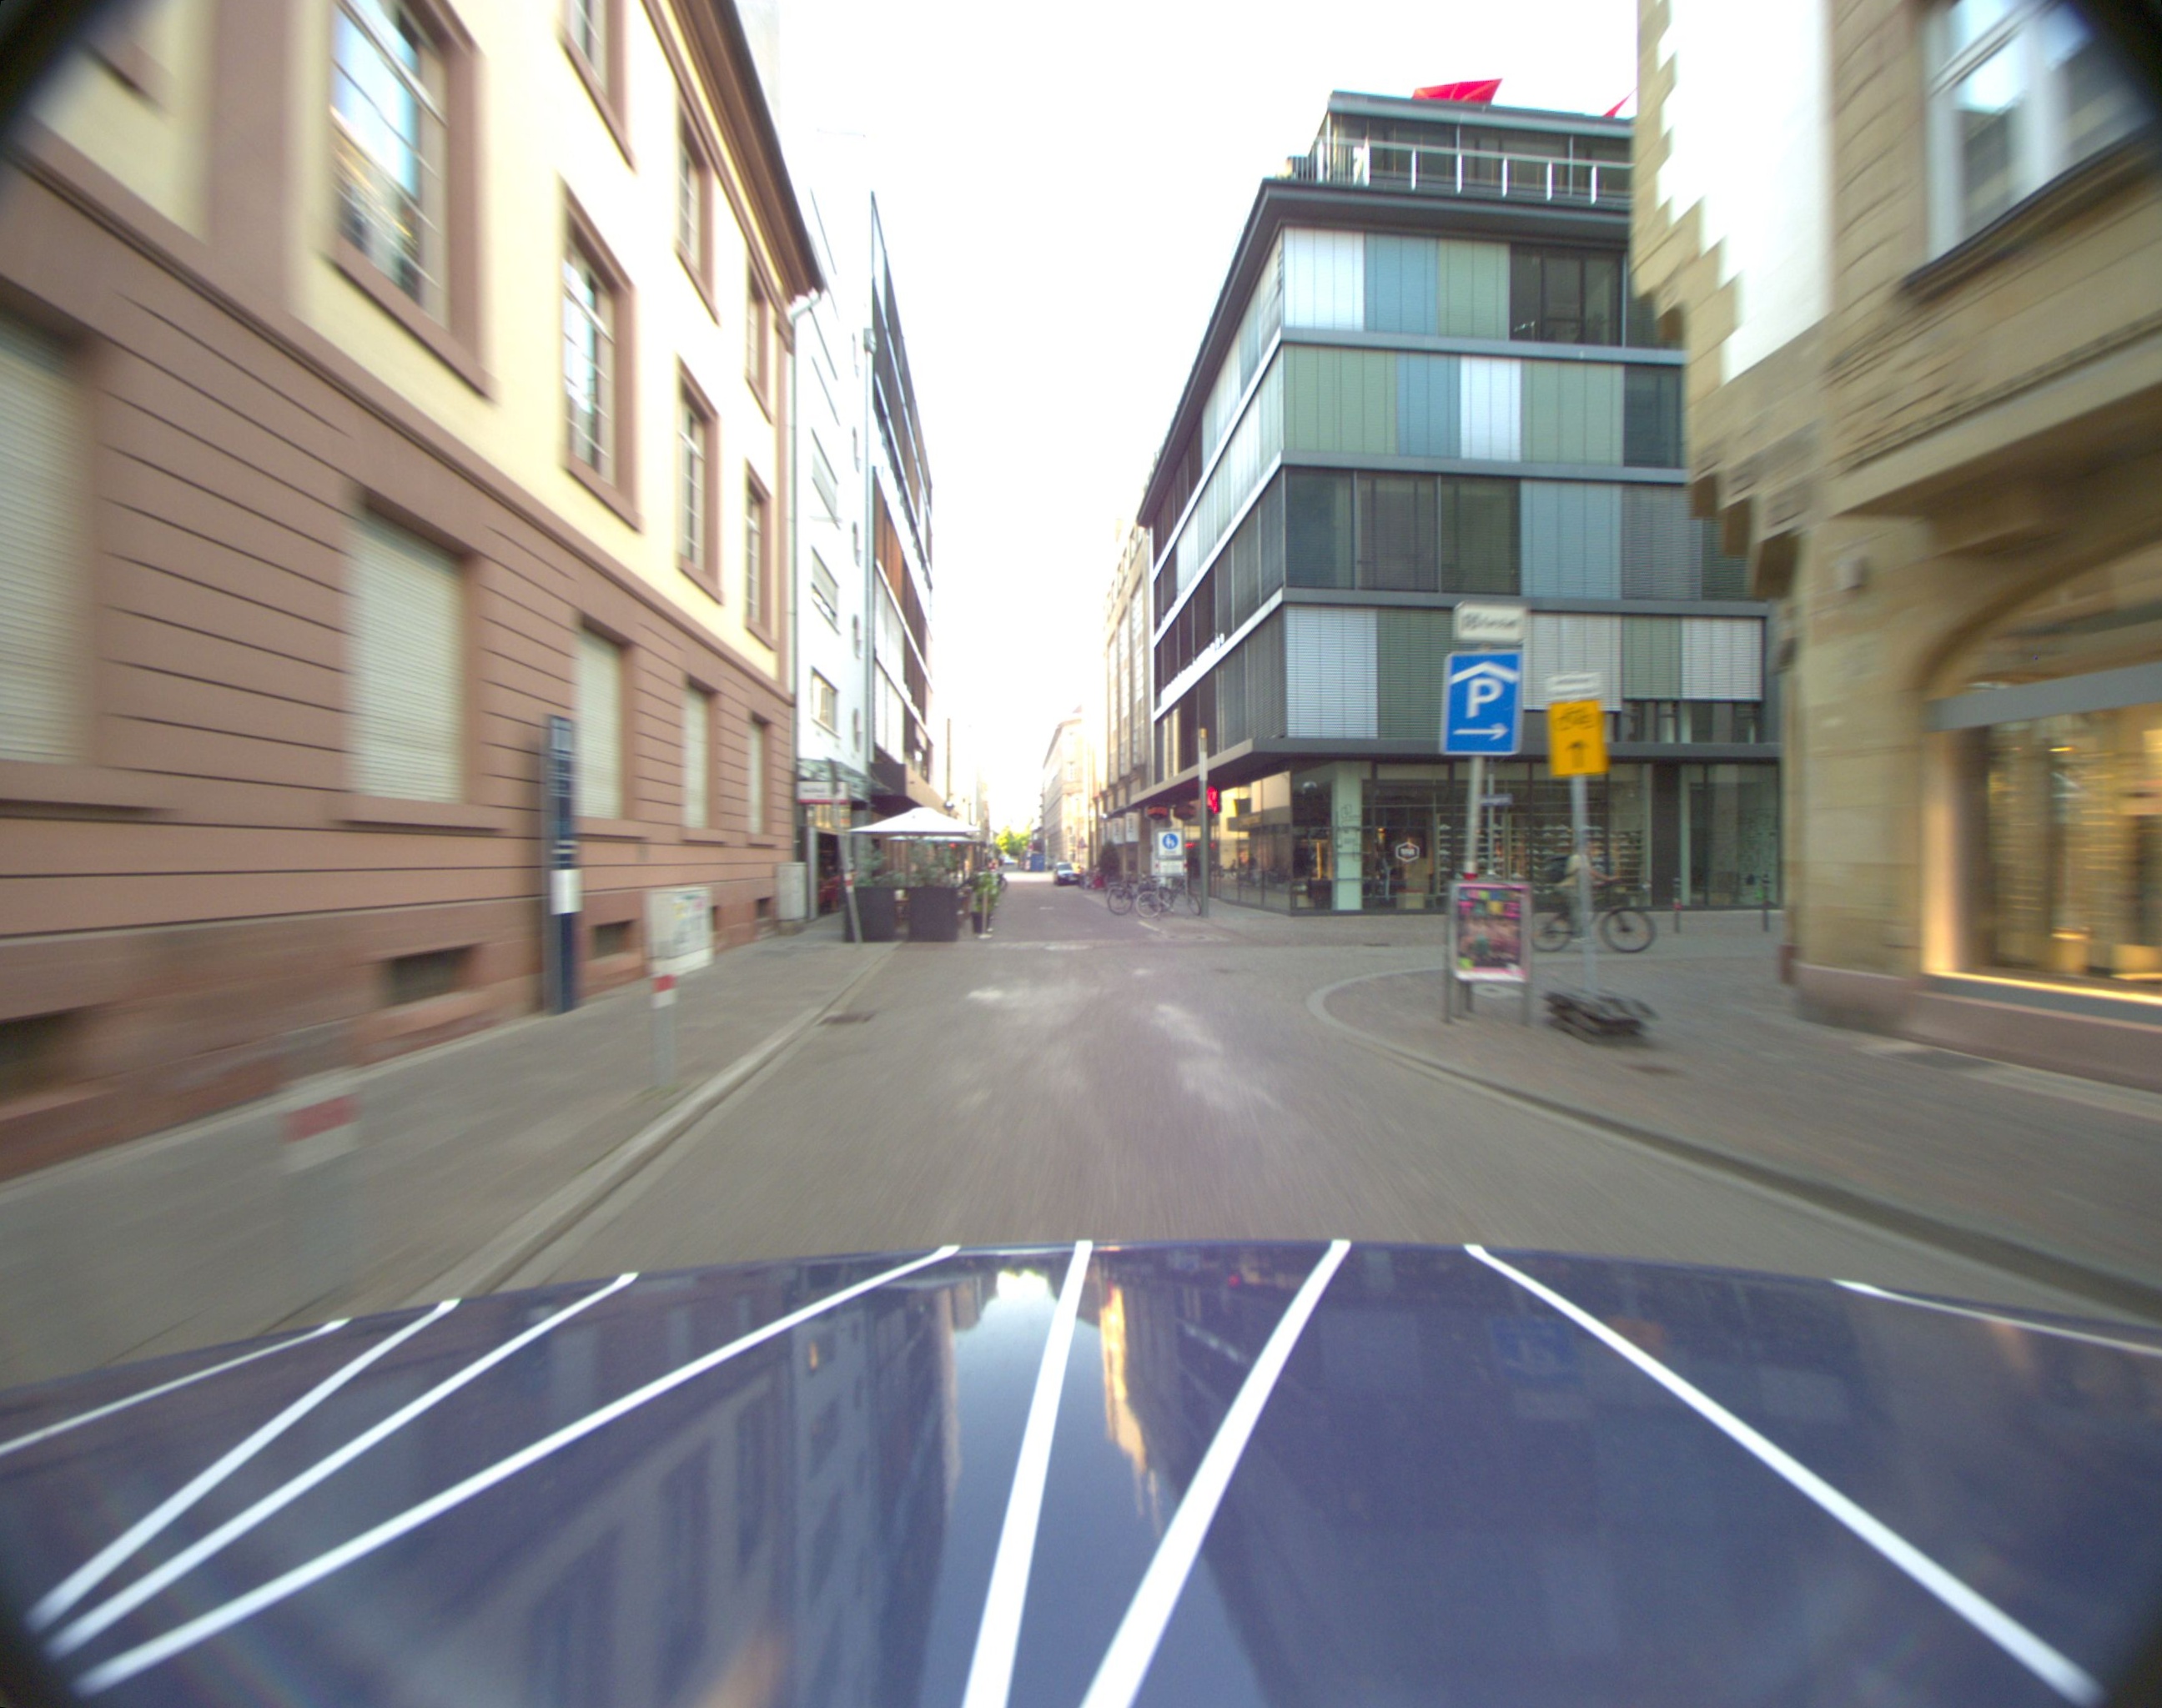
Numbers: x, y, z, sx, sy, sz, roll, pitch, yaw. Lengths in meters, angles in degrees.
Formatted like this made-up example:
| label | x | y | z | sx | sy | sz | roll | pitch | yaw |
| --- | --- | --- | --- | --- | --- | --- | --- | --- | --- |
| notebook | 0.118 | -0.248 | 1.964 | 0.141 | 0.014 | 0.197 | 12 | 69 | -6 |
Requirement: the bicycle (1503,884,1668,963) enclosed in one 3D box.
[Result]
| label | x | y | z | sx | sy | sz | roll | pitch | yaw |
| --- | --- | --- | --- | --- | --- | --- | --- | --- | --- |
| bicycle | 7.712 | 1.040 | 11.722 | 2.000 | 1.121 | 0.701 | 0 | 0 | 18 |

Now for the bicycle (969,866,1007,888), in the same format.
| label | x | y | z | sx | sy | sz | roll | pitch | yaw |
| --- | --- | --- | --- | --- | --- | --- | --- | --- | --- |
| bicycle | -5.008 | 1.219 | 40.926 | 2.039 | 1.161 | 0.618 | 1 | 0 | -6 |

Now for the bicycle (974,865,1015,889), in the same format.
| label | x | y | z | sx | sy | sz | roll | pitch | yaw |
| --- | --- | --- | --- | --- | --- | --- | --- | --- | --- |
| bicycle | -4.466 | 1.188 | 39.235 | 2.040 | 1.160 | 0.665 | 3 | 0 | -6 |

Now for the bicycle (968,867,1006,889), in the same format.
| label | x | y | z | sx | sy | sz | roll | pitch | yaw |
| --- | --- | --- | --- | --- | --- | --- | --- | --- | --- |
| bicycle | -5.167 | 1.301 | 41.907 | 2.039 | 1.161 | 0.618 | 0 | 0 | -6 |

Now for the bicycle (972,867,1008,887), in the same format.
| label | x | y | z | sx | sy | sz | roll | pitch | yaw |
| --- | --- | --- | --- | --- | --- | --- | --- | --- | --- |
| bicycle | -5.323 | 1.367 | 44.569 | 2.039 | 1.161 | 0.618 | 1 | 0 | -6 |

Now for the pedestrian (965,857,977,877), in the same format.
| label | x | y | z | sx | sy | sz | roll | pitch | yaw |
| --- | --- | --- | --- | --- | --- | --- | --- | --- | --- |
| pedestrian | -9.288 | 1.081 | 64.070 | 0.781 | 1.612 | 0.637 | 1 | 1 | 36 |

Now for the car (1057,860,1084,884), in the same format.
| label | x | y | z | sx | sy | sz | roll | pitch | yaw |
| --- | --- | --- | --- | --- | --- | --- | --- | --- | --- |
| car | -0.649 | 1.080 | 47.315 | 1.603 | 1.414 | 3.603 | 0 | 0 | -1 |

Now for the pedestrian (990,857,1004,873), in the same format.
| label | x | y | z | sx | sy | sz | roll | pitch | yaw |
| --- | --- | --- | --- | --- | --- | --- | --- | --- | --- |
| pedestrian | -8.364 | 1.074 | 75.290 | 0.917 | 1.563 | 0.995 | 0 | 1 | 38 |

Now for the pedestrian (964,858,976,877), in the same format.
| label | x | y | z | sx | sy | sz | roll | pitch | yaw |
| --- | --- | --- | --- | --- | --- | --- | --- | --- | --- |
| pedestrian | -9.542 | 1.157 | 65.107 | 0.667 | 1.628 | 0.767 | 1 | 1 | 31 |

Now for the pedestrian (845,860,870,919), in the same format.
| label | x | y | z | sx | sy | sz | roll | pitch | yaw |
| --- | --- | --- | --- | --- | --- | --- | --- | --- | --- |
| pedestrian | -6.794 | 1.070 | 23.126 | 0.640 | 1.762 | 0.601 | 0 | 0 | -10 |

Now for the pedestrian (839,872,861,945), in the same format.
| label | x | y | z | sx | sy | sz | roll | pitch | yaw |
| --- | --- | --- | --- | --- | --- | --- | --- | --- | --- |
| pedestrian | -4.277 | 0.997 | 14.060 | 0.363 | 1.298 | 0.494 | 0 | 0 | -19 |

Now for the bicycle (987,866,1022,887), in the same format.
| label | x | y | z | sx | sy | sz | roll | pitch | yaw |
| --- | --- | --- | --- | --- | --- | --- | --- | --- | --- |
| bicycle | -4.596 | 1.366 | 45.720 | 2.039 | 1.209 | 0.618 | 0 | 0 | -6 |

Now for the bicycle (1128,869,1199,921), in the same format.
| label | x | y | z | sx | sy | sz | roll | pitch | yaw |
| --- | --- | --- | --- | --- | --- | --- | --- | --- | --- |
| bicycle | 2.063 | 1.022 | 19.161 | 1.670 | 1.197 | 0.509 | -2 | 1 | -6 |

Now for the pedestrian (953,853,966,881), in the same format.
| label | x | y | z | sx | sy | sz | roll | pitch | yaw |
| --- | --- | --- | --- | --- | --- | --- | --- | --- | --- |
| pedestrian | -8.067 | 0.852 | 50.397 | 0.804 | 1.825 | 0.675 | 0 | 0 | -4 |

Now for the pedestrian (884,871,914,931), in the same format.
| label | x | y | z | sx | sy | sz | roll | pitch | yaw |
| --- | --- | --- | --- | --- | --- | --- | --- | --- | --- |
| pedestrian | -4.469 | 1.139 | 18.677 | 0.576 | 1.411 | 0.868 | 0 | 0 | -4 |

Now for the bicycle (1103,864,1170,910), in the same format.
| label | x | y | z | sx | sy | sz | roll | pitch | yaw |
| --- | --- | --- | --- | --- | --- | --- | --- | --- | --- |
| bicycle | 1.694 | 1.000 | 23.329 | 1.903 | 1.262 | 0.538 | -4 | 1 | -5 |

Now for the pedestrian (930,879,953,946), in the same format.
| label | x | y | z | sx | sy | sz | roll | pitch | yaw |
| --- | --- | --- | --- | --- | --- | --- | --- | --- | --- |
| pedestrian | -2.592 | 1.075 | 14.109 | 0.400 | 1.206 | 0.383 | 0 | 0 | -15 |

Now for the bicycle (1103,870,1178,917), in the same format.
| label | x | y | z | sx | sy | sz | roll | pitch | yaw |
| --- | --- | --- | --- | --- | --- | --- | --- | --- | --- |
| bicycle | 1.591 | 1.059 | 20.546 | 1.903 | 1.174 | 0.517 | -3 | -1 | -7 |

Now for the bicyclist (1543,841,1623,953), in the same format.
| label | x | y | z | sx | sy | sz | roll | pitch | yaw |
| --- | --- | --- | --- | --- | --- | --- | --- | --- | --- |
| bicyclist | 7.712 | 0.638 | 11.716 | 0.867 | 1.660 | 0.677 | 0 | 0 | 16 |
